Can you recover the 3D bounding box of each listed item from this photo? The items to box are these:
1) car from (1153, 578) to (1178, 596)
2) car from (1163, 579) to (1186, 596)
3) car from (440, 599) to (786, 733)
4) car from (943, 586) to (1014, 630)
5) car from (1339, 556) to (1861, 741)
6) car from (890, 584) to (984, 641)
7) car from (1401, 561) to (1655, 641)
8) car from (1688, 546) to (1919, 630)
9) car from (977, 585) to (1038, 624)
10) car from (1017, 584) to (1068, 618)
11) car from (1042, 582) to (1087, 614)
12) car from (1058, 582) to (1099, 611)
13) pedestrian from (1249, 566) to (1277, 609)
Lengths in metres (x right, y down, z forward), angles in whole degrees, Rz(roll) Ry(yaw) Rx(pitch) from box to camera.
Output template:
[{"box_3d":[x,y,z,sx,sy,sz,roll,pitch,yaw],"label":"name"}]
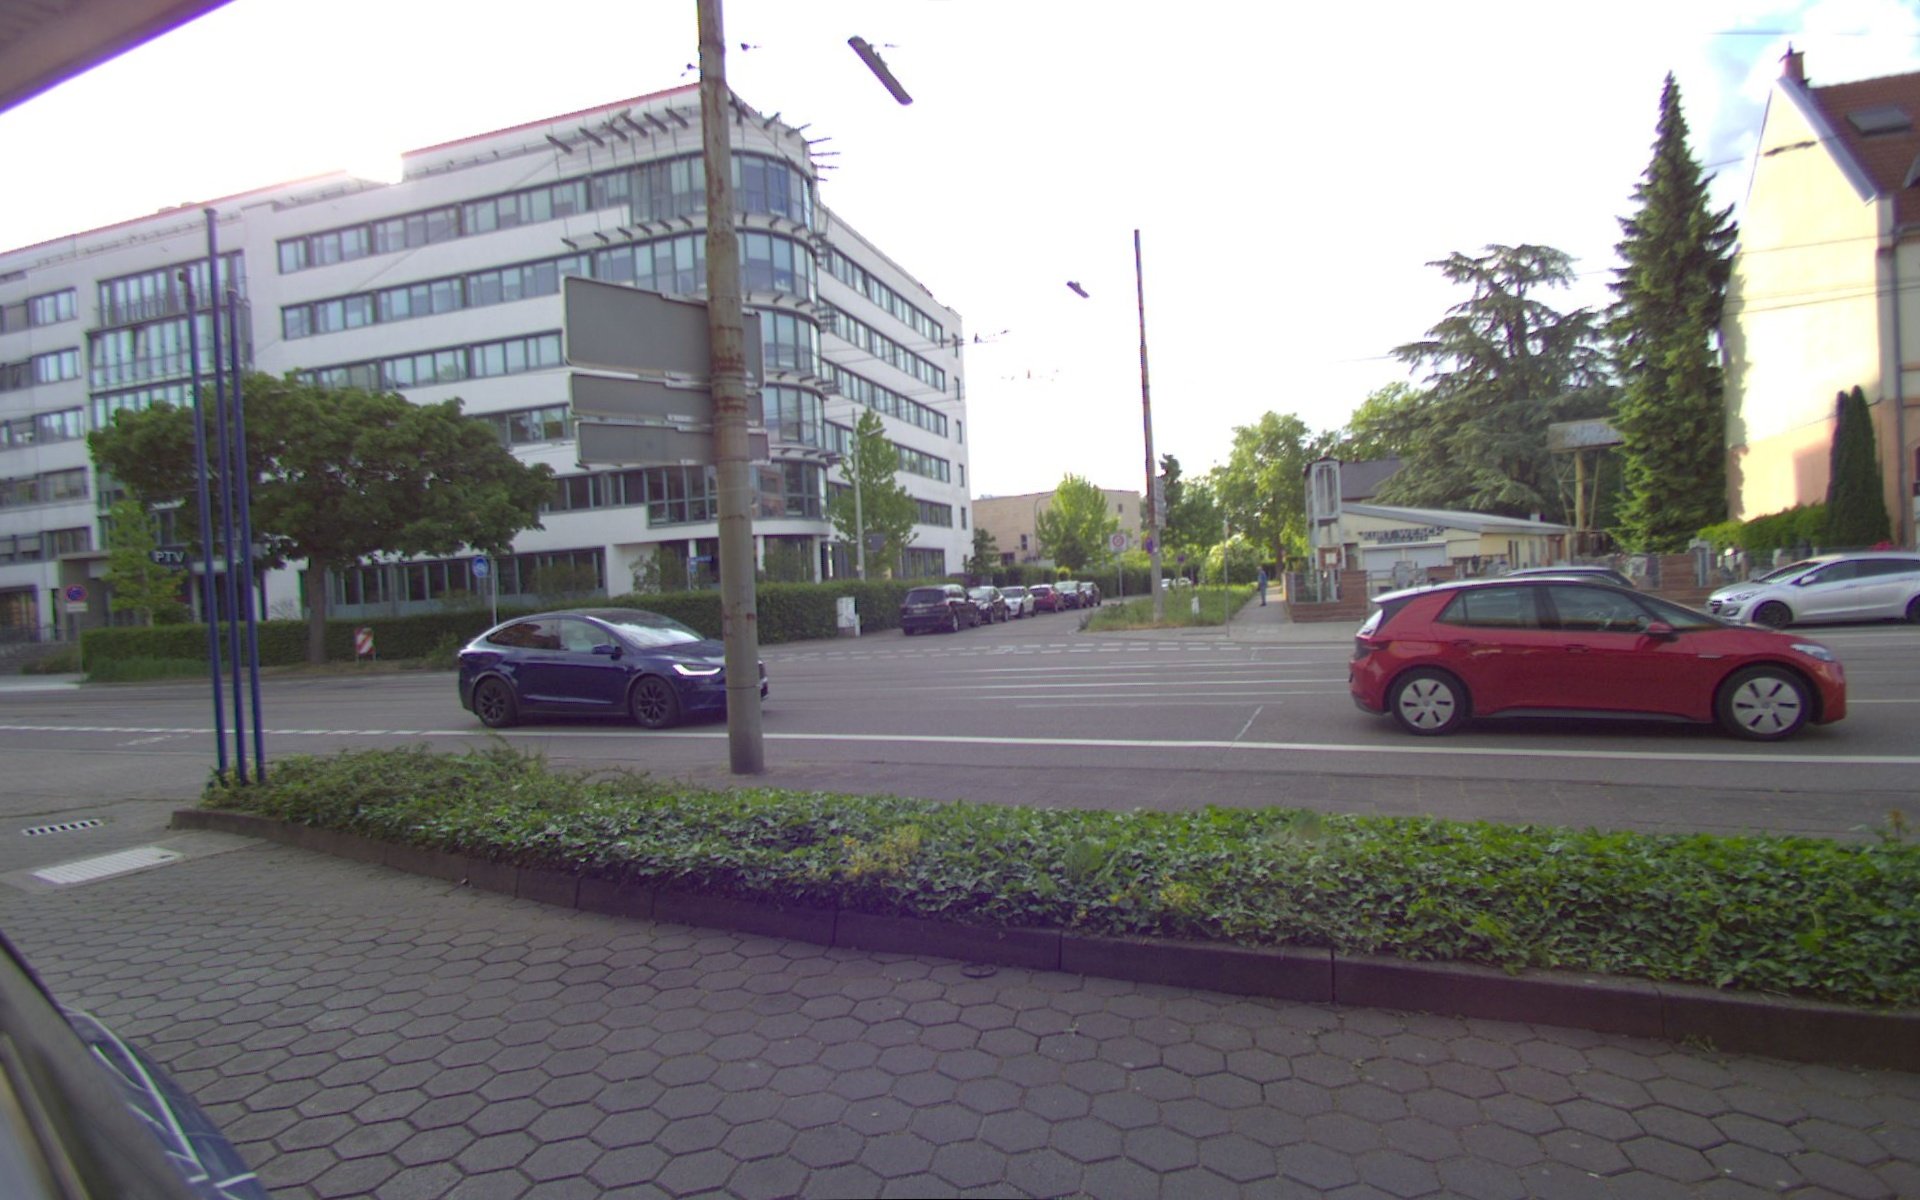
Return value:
[{"box_3d":[20.433,-1.279,100.613,1.774,1.653,4.060,-4,0,19],"label":"car"},{"box_3d":[22.572,-1.309,106.310,1.774,1.653,4.060,-4,0,19],"label":"car"},{"box_3d":[-5.136,0.970,14.922,4.819,1.669,1.757,-3,2,23],"label":"car"},{"box_3d":[0.801,0.285,40.895,1.773,1.565,4.083,-4,0,17],"label":"car"},{"box_3d":[6.081,0.466,10.227,4.105,1.554,1.757,-3,2,23],"label":"car"},{"box_3d":[-0.720,0.378,35.537,1.962,1.625,4.411,-4,2,17],"label":"car"},{"box_3d":[12.917,0.038,23.415,4.791,1.507,1.986,-4,0,22],"label":"car"},{"box_3d":[18.493,-0.265,21.498,4.459,1.486,1.986,-4,0,22],"label":"car"},{"box_3d":[2.209,0.172,45.756,1.773,1.565,4.083,-4,0,17],"label":"car"},{"box_3d":[4.290,0.018,52.361,1.773,1.552,4.018,-4,0,17],"label":"car"},{"box_3d":[5.985,-0.141,57.661,1.773,1.653,4.064,-4,0,17],"label":"car"},{"box_3d":[7.377,-0.239,62.672,1.773,1.653,4.064,-4,0,17],"label":"car"},{"box_3d":[13.080,-0.534,43.730,1.000,1.843,1.083,-1,0,25],"label":"pedestrian"}]
